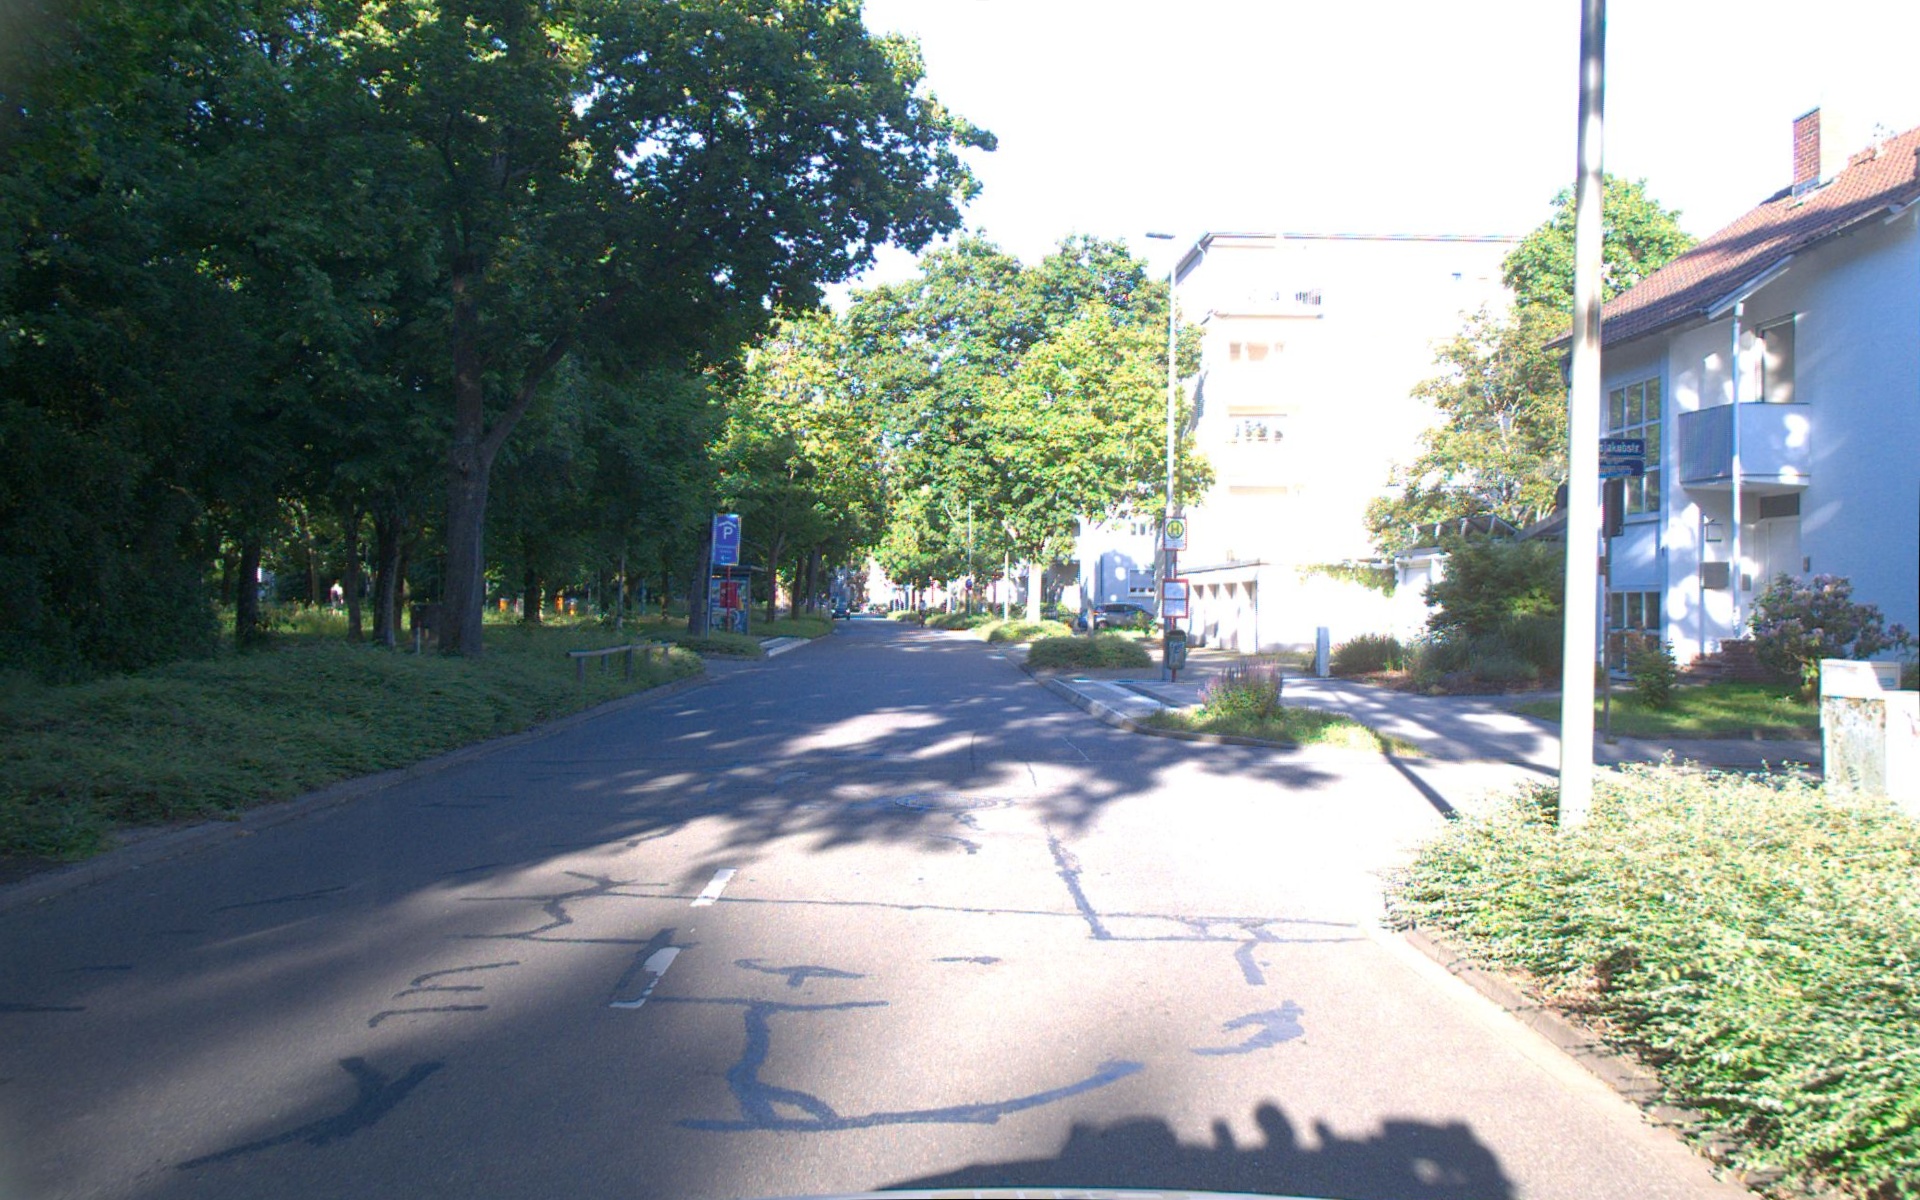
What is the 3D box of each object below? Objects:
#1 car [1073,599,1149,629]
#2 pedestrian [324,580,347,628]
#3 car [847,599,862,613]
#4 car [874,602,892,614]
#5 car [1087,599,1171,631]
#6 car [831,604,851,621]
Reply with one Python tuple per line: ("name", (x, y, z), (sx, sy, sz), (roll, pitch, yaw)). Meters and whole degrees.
("car", (8.350, 0.791, 91.389), (3.910, 1.609, 1.808), (0, 1, -6))
("pedestrian", (-26.925, 0.162, 71.307), (0.742, 2.049, 0.589), (1, -1, -7))
("car", (-16.099, 0.909, 252.421), (1.778, 1.959, 3.992), (2, 0, -9))
("car", (-10.459, 1.107, 224.212), (1.780, 1.527, 3.987), (0, 0, -13))
("car", (8.527, 0.776, 83.623), (3.961, 1.541, 1.725), (1, -2, -5))
("car", (-11.494, 1.210, 159.645), (1.808, 1.606, 4.332), (-1, 0, -4))
